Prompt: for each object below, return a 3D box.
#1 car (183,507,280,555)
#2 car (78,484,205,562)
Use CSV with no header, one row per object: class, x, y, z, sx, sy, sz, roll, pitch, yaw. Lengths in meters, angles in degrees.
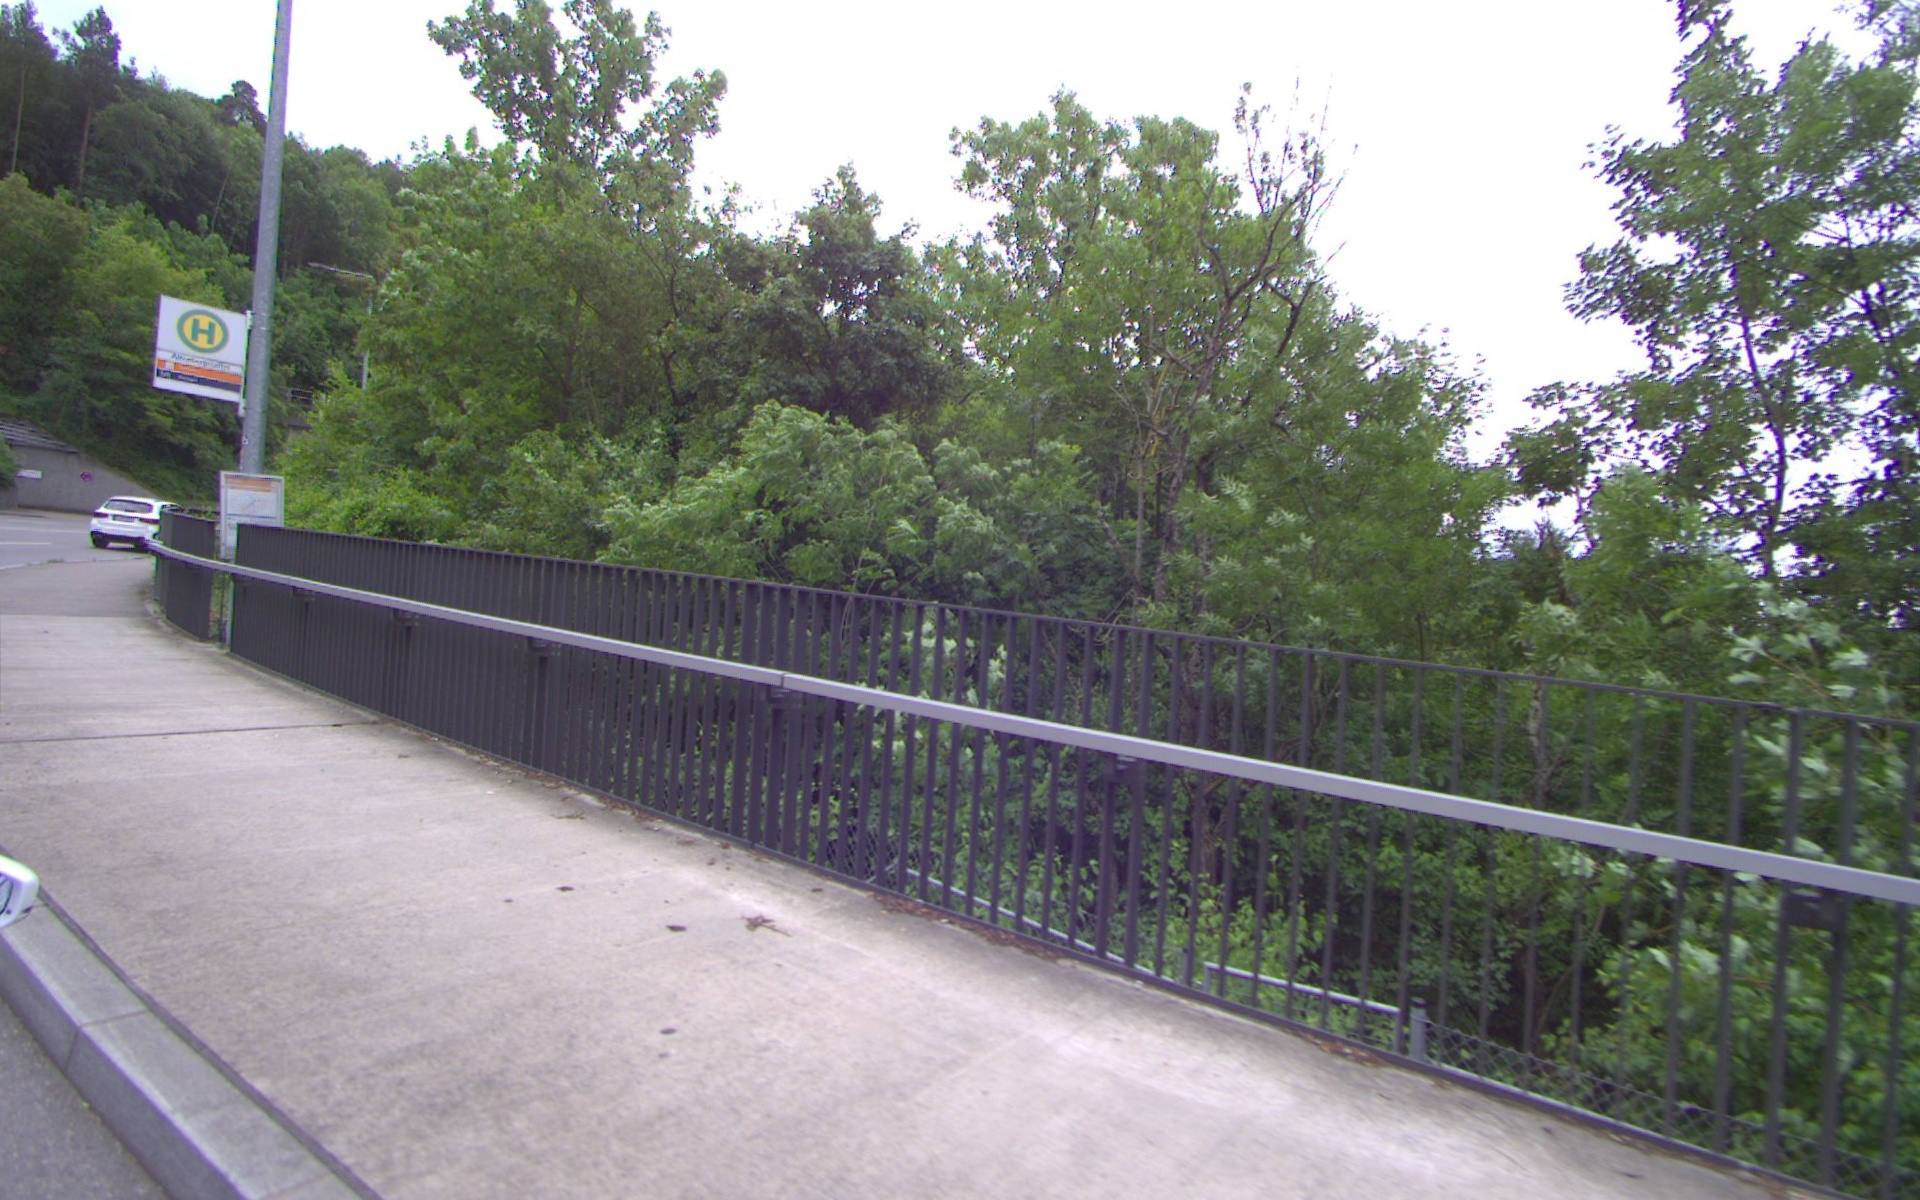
car,-33.545,-3.141,46.478,1.718,1.535,4.306,8,-3,-9
car,-25.697,-2.330,31.757,1.976,1.863,4.127,9,-3,-25
